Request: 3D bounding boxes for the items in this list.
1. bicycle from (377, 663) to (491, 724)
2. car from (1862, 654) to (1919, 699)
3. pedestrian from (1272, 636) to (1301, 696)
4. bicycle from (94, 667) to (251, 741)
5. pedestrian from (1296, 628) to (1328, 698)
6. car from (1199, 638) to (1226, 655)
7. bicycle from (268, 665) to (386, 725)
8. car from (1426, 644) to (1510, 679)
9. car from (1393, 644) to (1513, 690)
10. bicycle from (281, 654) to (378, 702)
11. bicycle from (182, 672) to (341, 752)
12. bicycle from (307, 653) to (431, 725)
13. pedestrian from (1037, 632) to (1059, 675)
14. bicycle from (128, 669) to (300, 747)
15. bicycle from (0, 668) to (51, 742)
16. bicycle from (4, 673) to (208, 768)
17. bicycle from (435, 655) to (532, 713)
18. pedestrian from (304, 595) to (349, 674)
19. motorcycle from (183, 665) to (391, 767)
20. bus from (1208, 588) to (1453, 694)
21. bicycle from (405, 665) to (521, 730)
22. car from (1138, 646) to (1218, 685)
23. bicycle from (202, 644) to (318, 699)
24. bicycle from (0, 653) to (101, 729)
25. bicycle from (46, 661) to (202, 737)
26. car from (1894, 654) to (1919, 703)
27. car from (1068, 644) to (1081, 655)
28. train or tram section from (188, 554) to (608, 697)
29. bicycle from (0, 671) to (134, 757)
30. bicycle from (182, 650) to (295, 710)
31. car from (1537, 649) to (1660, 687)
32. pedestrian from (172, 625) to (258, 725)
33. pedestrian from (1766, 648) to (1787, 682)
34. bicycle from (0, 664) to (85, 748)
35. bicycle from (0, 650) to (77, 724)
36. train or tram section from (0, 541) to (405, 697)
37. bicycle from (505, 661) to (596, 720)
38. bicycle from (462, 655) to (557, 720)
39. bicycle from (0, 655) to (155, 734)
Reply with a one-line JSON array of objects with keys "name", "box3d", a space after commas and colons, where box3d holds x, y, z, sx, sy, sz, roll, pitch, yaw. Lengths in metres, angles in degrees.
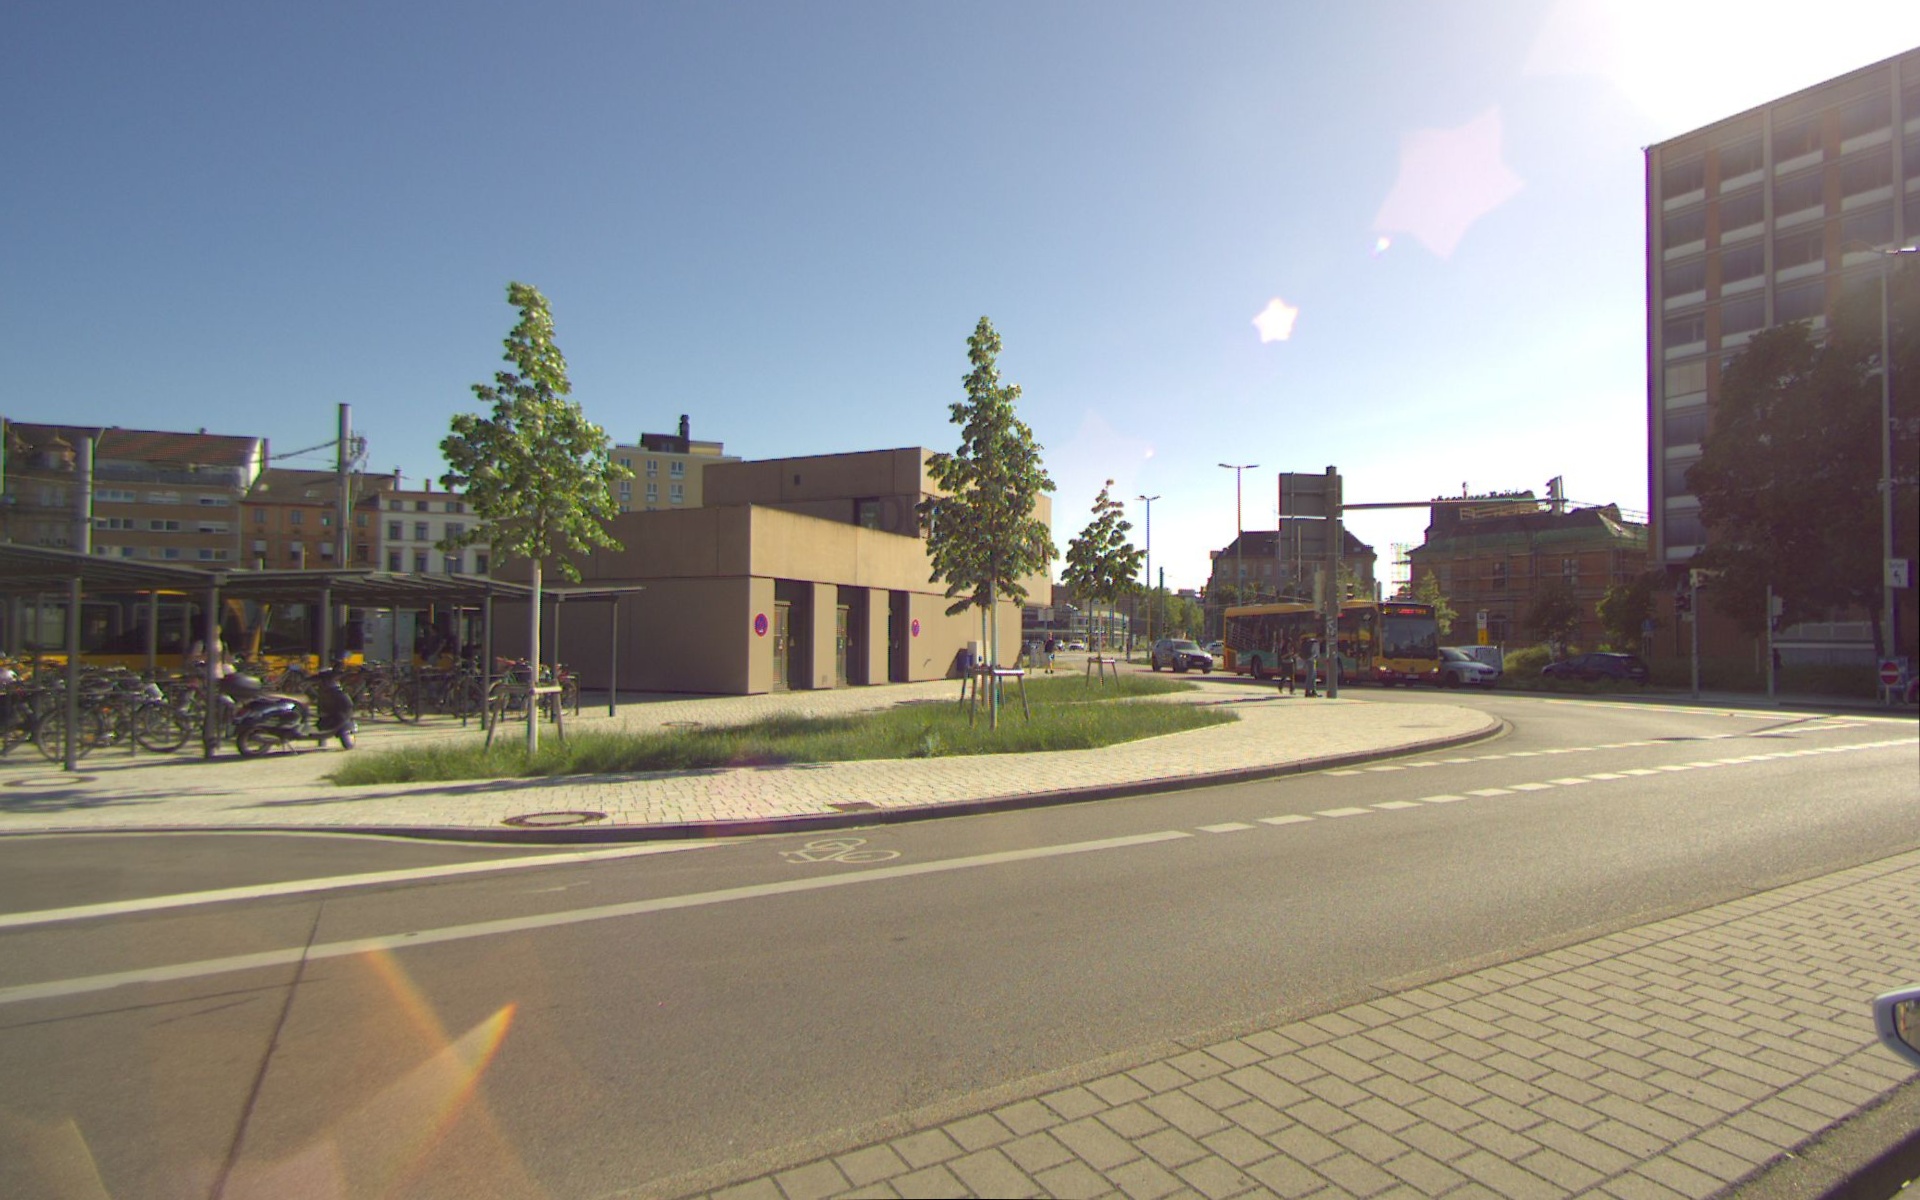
[{"name": "bicycle", "box3d": [-9.714, 1.703, 18.624, 0.492, 1.010, 1.887, 0, -2, 31]}, {"name": "car", "box3d": [32.835, 2.547, 33.201, 2.031, 1.458, 4.047, 1, -2, -14]}, {"name": "pedestrian", "box3d": [9.469, 1.910, 29.156, 0.594, 1.719, 0.634, 1, -1, -7]}, {"name": "bicycle", "box3d": [-12.201, 1.584, 15.634, 0.617, 1.021, 1.829, 0, -2, 25]}, {"name": "pedestrian", "box3d": [9.505, 1.690, 27.132, 0.594, 1.880, 0.681, 1, -1, -7]}, {"name": "car", "box3d": [27.567, 5.079, 109.690, 1.960, 1.603, 4.001, 2, 0, 2]}, {"name": "bicycle", "box3d": [-11.964, 1.768, 19.059, 0.617, 1.021, 1.828, 0, -2, 27]}, {"name": "car", "box3d": [28.976, 3.483, 57.453, 2.176, 1.905, 4.176, 1, -2, -12]}, {"name": "car", "box3d": [18.208, 2.442, 37.267, 1.862, 1.421, 3.843, 4, -2, -16]}, {"name": "bicycle", "box3d": [-14.360, 1.757, 22.923, 0.617, 1.021, 1.829, 0, -2, 25]}, {"name": "bicycle", "box3d": [-10.134, 1.591, 14.644, 0.617, 1.021, 1.829, 0, -2, 25]}, {"name": "bicycle", "box3d": [-10.987, 1.625, 18.751, 0.496, 1.225, 2.051, 0, -2, 26]}, {"name": "pedestrian", "box3d": [3.940, 2.388, 44.828, 0.826, 1.869, 0.866, 1, -1, -7]}, {"name": "bicycle", "box3d": [-11.217, 1.591, 15.194, 0.617, 1.021, 2.026, 0, -2, 25]}, {"name": "bicycle", "box3d": [-14.206, 1.508, 14.142, 0.616, 1.021, 2.004, 0, -2, 22]}, {"name": "bicycle", "box3d": [-11.009, 1.511, 13.029, 0.677, 1.055, 1.891, 0, -2, 27]}, {"name": "bicycle", "box3d": [-9.846, 1.706, 20.812, 0.617, 1.107, 1.829, 0, -2, 25]}, {"name": "pedestrian", "box3d": [-15.383, 0.842, 24.397, 0.738, 1.880, 0.709, 1, -1, -19]}, {"name": "motorcycle", "box3d": [-9.015, 1.511, 13.599, 0.599, 1.173, 2.360, 0, -2, 25]}, {"name": "bus", "box3d": [14.319, 1.615, 40.702, 3.193, 3.617, 12.437, 1, -2, -12]}, {"name": "bicycle", "box3d": [-8.770, 1.702, 17.808, 0.617, 1.021, 1.828, 0, -2, 27]}, {"name": "car", "box3d": [11.692, 3.490, 54.177, 1.975, 1.885, 4.720, 1, -2, -21]}, {"name": "bicycle", "box3d": [-14.093, 1.420, 20.286, 0.617, 1.021, 1.828, 0, -2, 27]}, {"name": "bicycle", "box3d": [-15.646, 1.508, 16.790, 0.636, 1.204, 1.829, 0, -2, 25]}, {"name": "bicycle", "box3d": [-13.369, 1.552, 16.132, 0.617, 1.094, 1.829, 0, -2, 25]}, {"name": "car", "box3d": [30.237, 2.338, 29.207, 2.034, 1.458, 4.040, 1, -2, -19]}, {"name": "car", "box3d": [18.069, 7.828, 158.957, 1.866, 1.728, 4.002, 0, -2, 3]}, {"name": "train or tram section", "box3d": [-16.797, 0.857, 31.893, 2.702, 3.648, 12.318, 0, -2, 25]}, {"name": "bicycle", "box3d": [-12.113, 1.488, 13.291, 0.539, 1.021, 1.749, 0, -2, 28]}, {"name": "bicycle", "box3d": [-15.012, 1.639, 20.948, 0.617, 1.146, 1.828, 0, -2, 27]}, {"name": "car", "box3d": [26.608, 2.799, 42.003, 2.069, 1.467, 3.898, 1, -2, -19]}, {"name": "pedestrian", "box3d": [-13.224, 1.304, 17.847, 1.005, 1.727, 0.838, 0, -2, 26]}, {"name": "pedestrian", "box3d": [37.853, 3.014, 46.581, 0.545, 1.591, 0.534, 1, -1, -5]}, {"name": "bicycle", "box3d": [-13.285, 1.453, 13.735, 0.616, 1.107, 1.879, 0, -2, 27]}, {"name": "bicycle", "box3d": [-16.653, 1.503, 17.481, 0.617, 1.249, 1.829, 0, -2, 25]}, {"name": "train or tram section", "box3d": [-22.039, 0.584, 27.925, 2.779, 3.648, 12.320, 0, -2, 24]}, {"name": "bicycle", "box3d": [-7.922, 1.728, 19.509, 0.616, 1.021, 1.832, 0, -2, 16]}, {"name": "bicycle", "box3d": [-8.842, 1.695, 19.807, 0.616, 1.161, 1.831, 0, -2, 18]}, {"name": "bicycle", "box3d": [-14.525, 1.520, 16.585, 0.617, 1.176, 1.829, 0, -2, 25]}]
